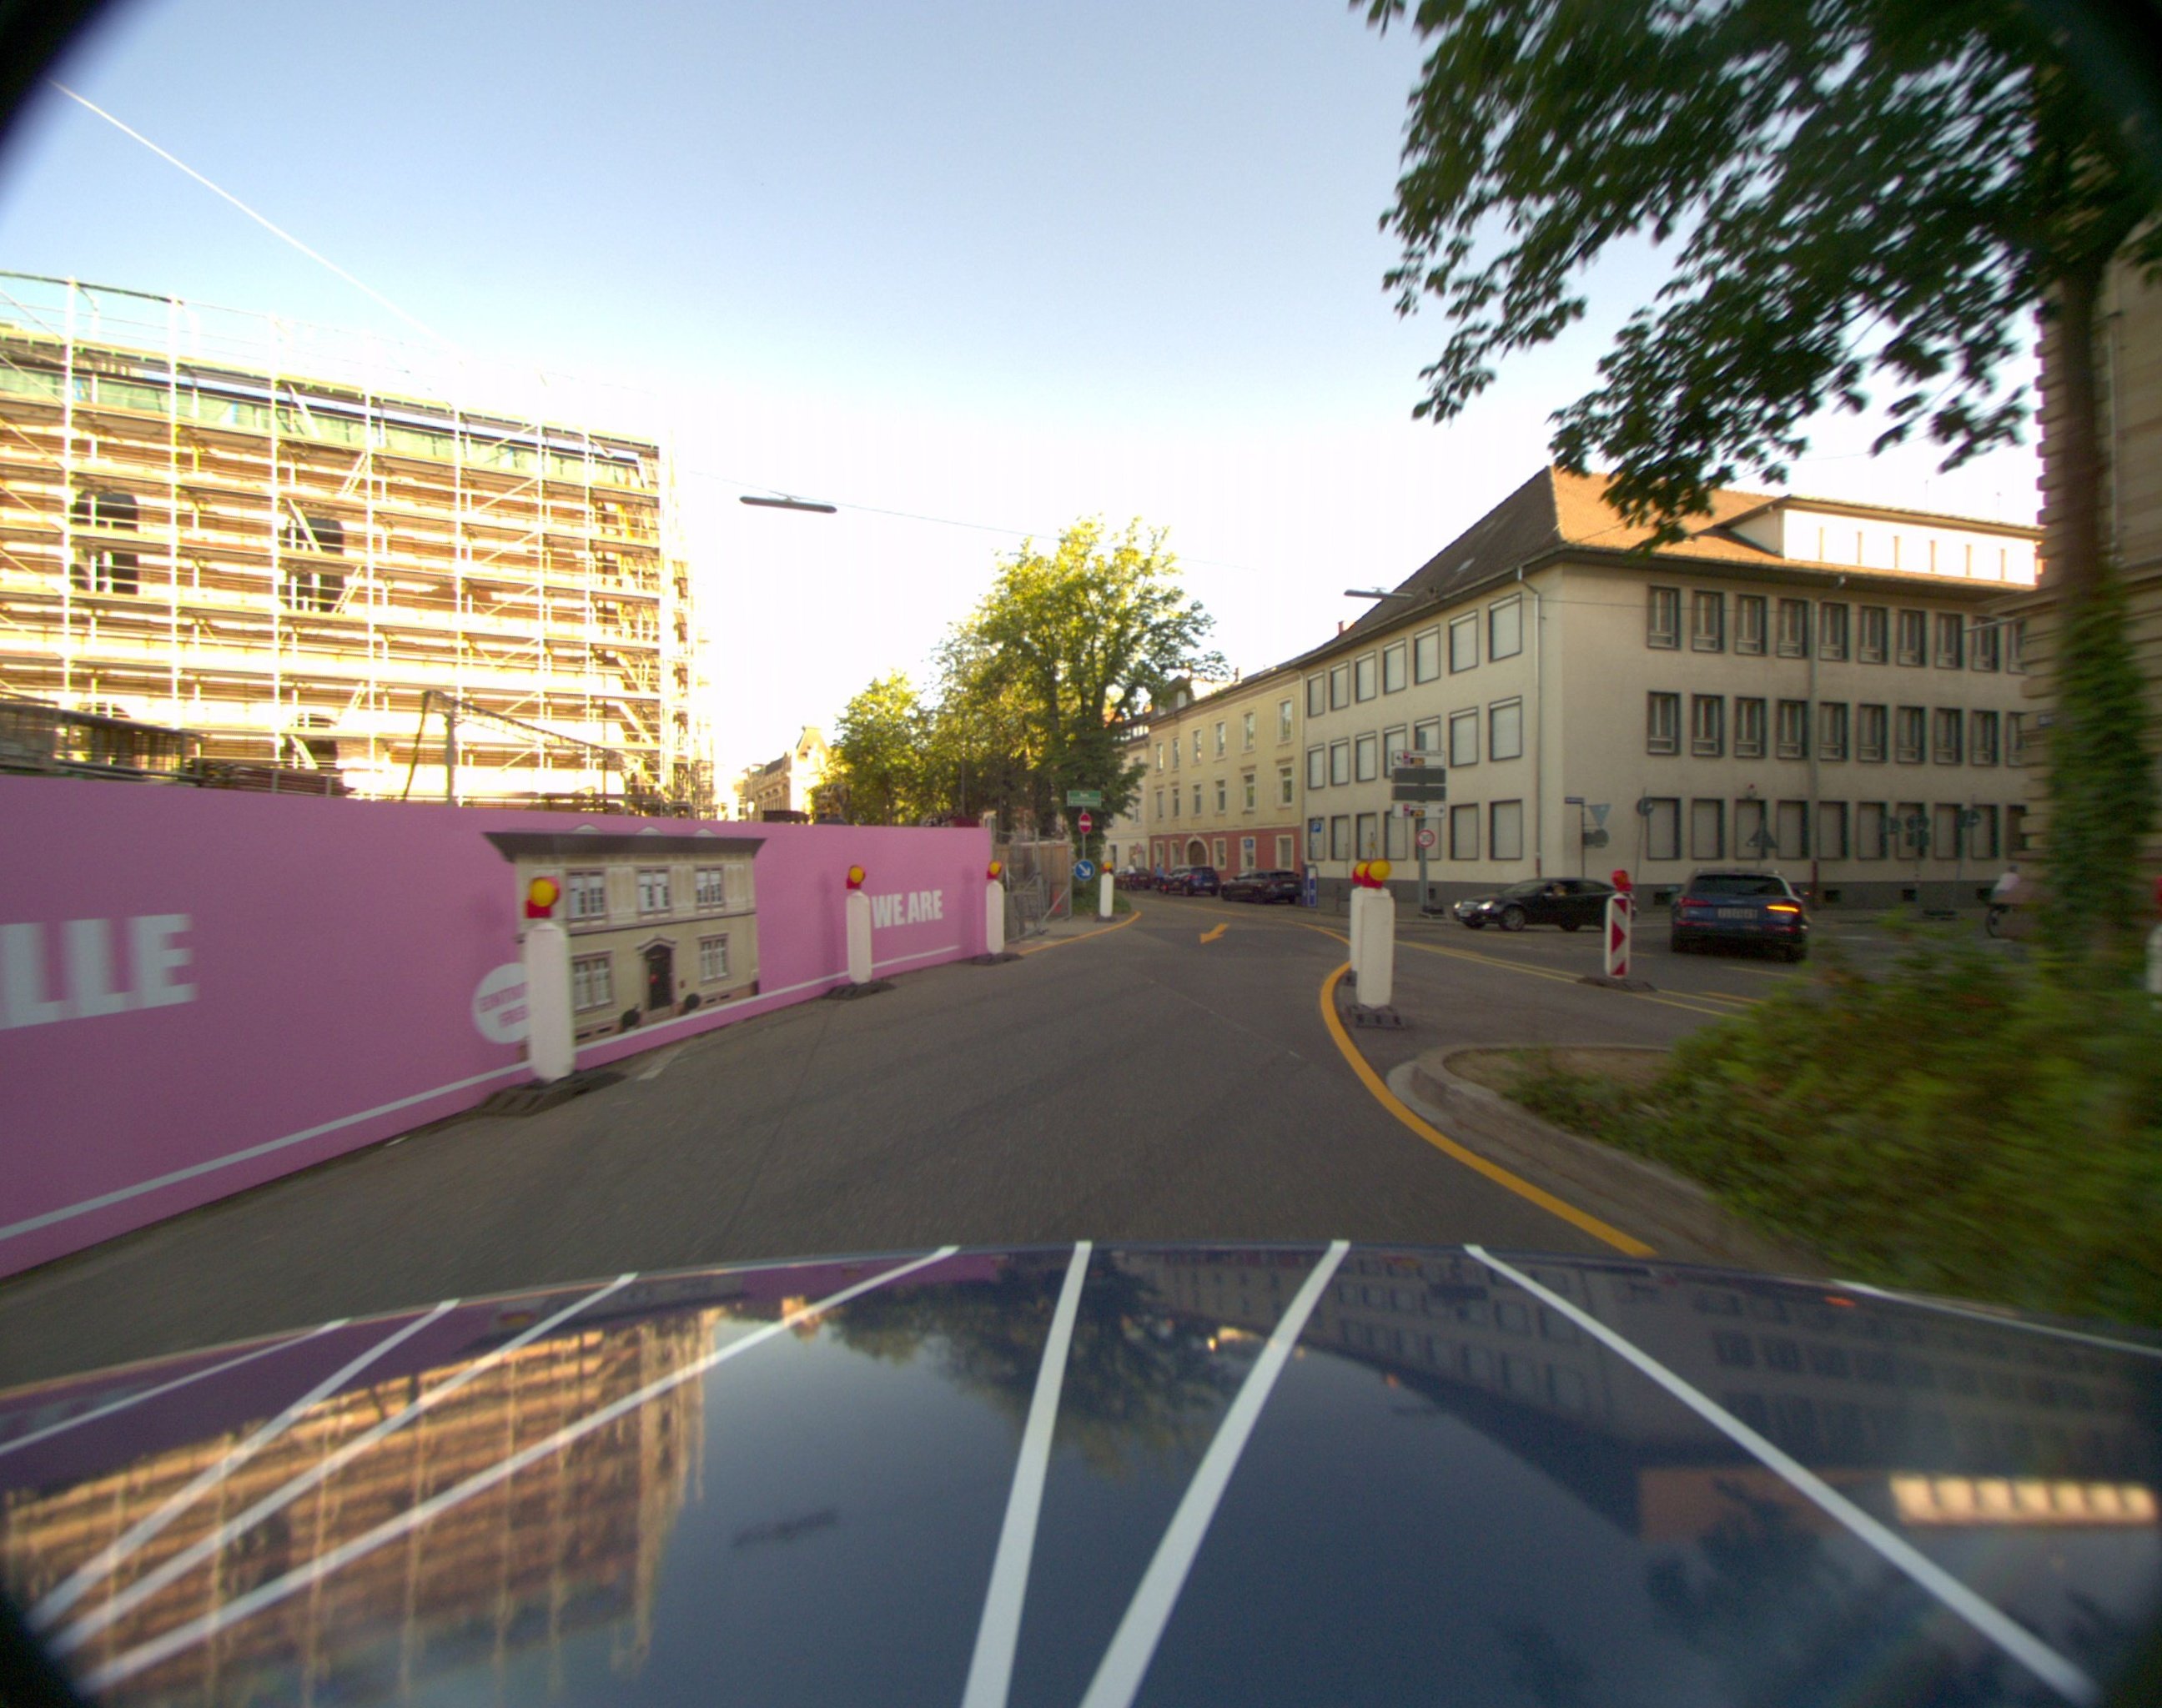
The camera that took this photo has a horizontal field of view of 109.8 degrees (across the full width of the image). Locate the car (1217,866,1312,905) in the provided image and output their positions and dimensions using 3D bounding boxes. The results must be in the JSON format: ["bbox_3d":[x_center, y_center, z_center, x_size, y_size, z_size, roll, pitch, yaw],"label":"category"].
[{"bbox_3d":[7.991,1.315,33.682,1.883,1.499,4.780,-1,0,-18],"label":"car"}]

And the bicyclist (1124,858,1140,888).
[{"bbox_3d":[2.909,1.075,43.749,0.576,1.649,1.009,3,0,-13],"label":"bicyclist"}]

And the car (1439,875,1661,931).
[{"bbox_3d":[11.946,1.212,19.504,4.774,1.315,1.766,0,0,-6],"label":"car"}]

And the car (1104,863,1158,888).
[{"bbox_3d":[3.135,1.334,48.633,1.774,1.479,4.186,-1,0,-22],"label":"car"}]

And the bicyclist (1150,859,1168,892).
[{"bbox_3d":[4.007,1.088,39.192,0.583,1.665,0.835,3,0,-14],"label":"bicyclist"}]

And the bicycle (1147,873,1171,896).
[{"bbox_3d":[3.983,1.561,39.143,0.612,1.064,1.895,2,0,-14],"label":"bicycle"}]

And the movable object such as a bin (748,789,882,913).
[{"bbox_3d":[-7.700,-0.049,22.607,3.173,3.280,4.381,1,0,-12],"label":"movable object such as a bin"}]

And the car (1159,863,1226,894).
[{"bbox_3d":[5.839,1.260,40.349,1.809,1.562,4.148,0,0,-19],"label":"car"}]

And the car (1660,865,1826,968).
[{"bbox_3d":[12.752,1.076,14.949,1.877,1.660,4.666,1,0,34],"label":"car"}]

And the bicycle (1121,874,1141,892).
[{"bbox_3d":[2.859,1.663,43.860,0.589,0.982,2.028,2,0,-11],"label":"bicycle"}]

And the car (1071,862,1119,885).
[{"bbox_3d":[0.946,1.327,53.592,1.821,1.562,4.382,0,0,-22],"label":"car"}]
